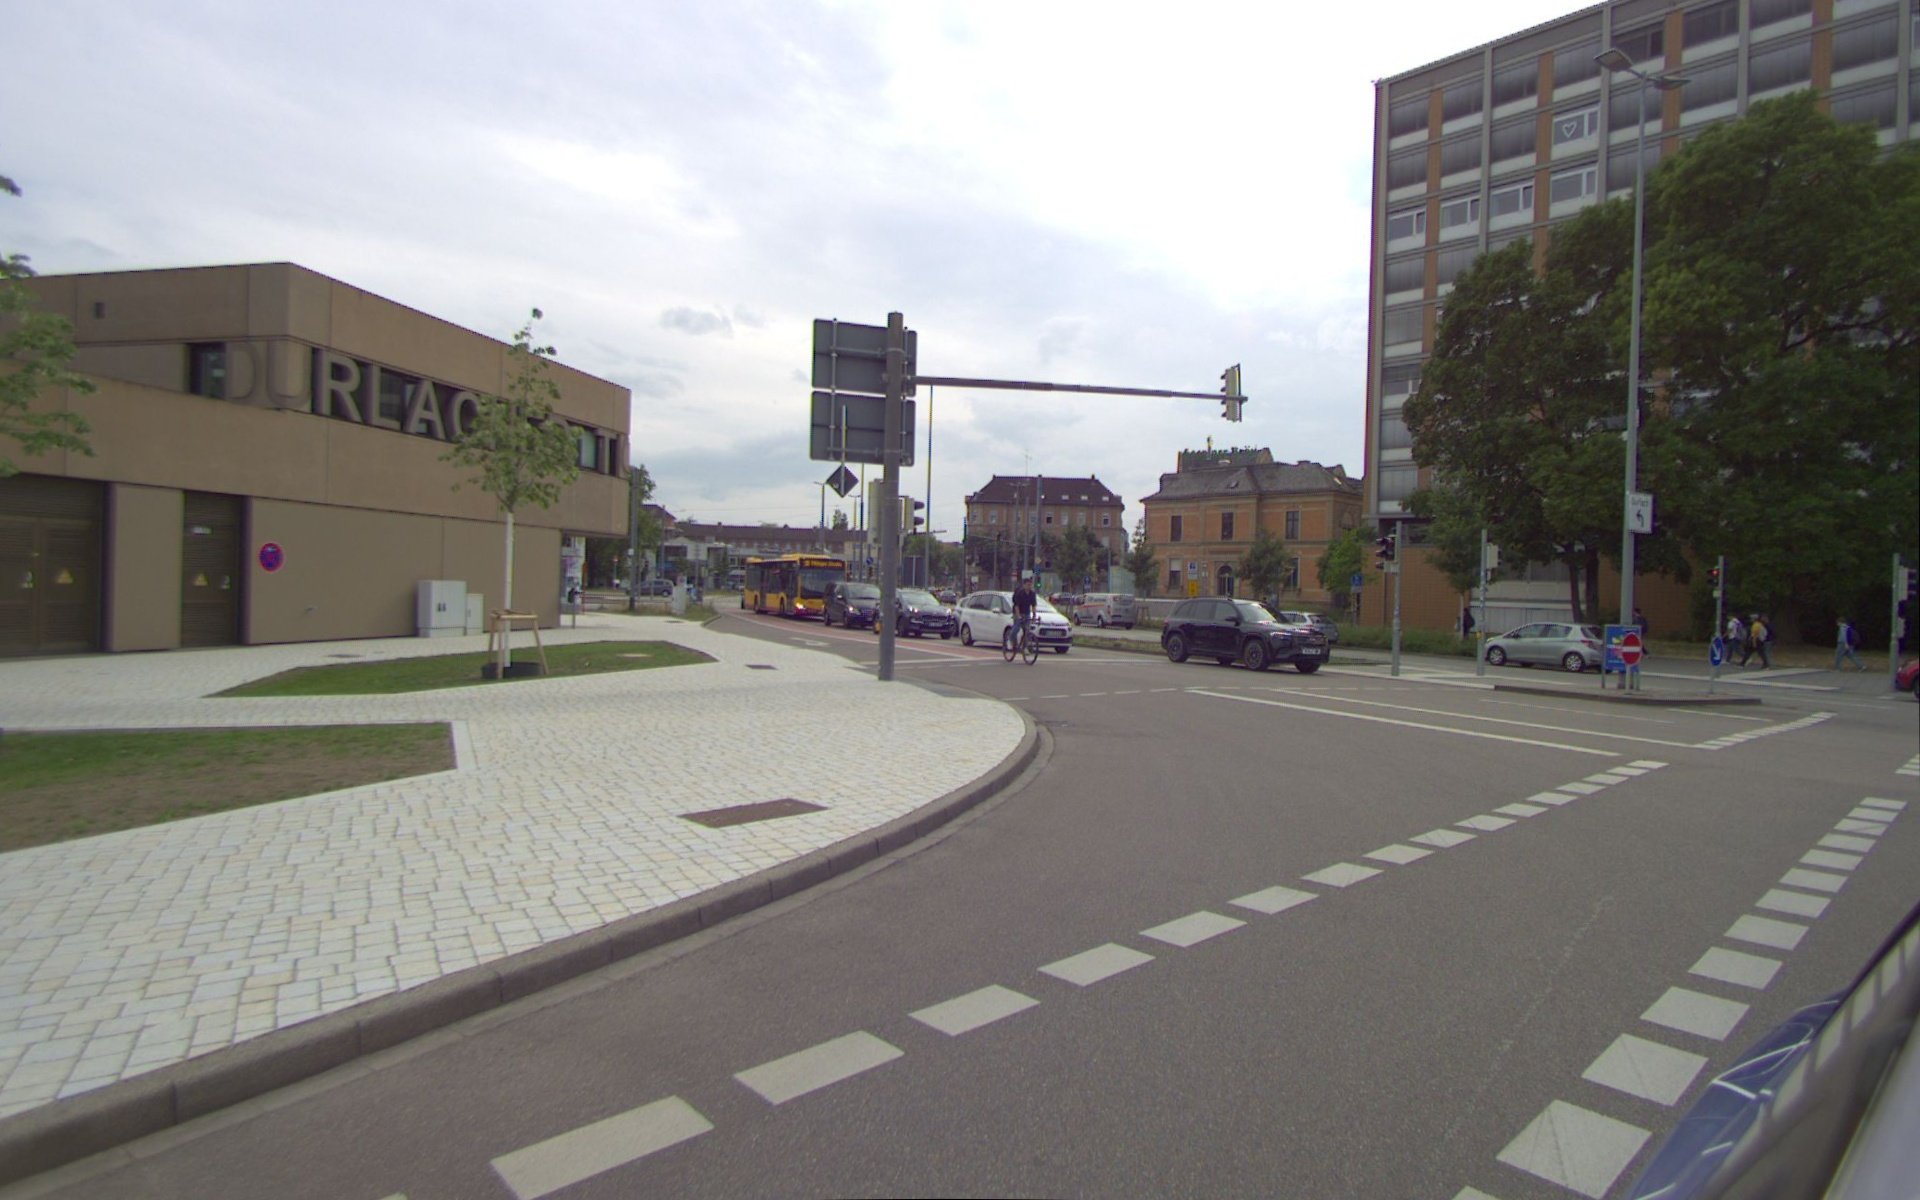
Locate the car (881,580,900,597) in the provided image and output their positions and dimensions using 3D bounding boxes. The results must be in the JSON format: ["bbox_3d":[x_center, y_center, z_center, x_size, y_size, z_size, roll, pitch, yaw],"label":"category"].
[{"bbox_3d":[-8.931,-1.426,129.328,1.959,1.948,4.006,3,-1,-9],"label":"car"}]

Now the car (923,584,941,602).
[{"bbox_3d":[-3.455,-0.903,125.055,1.963,2.039,3.997,3,-1,2],"label":"car"}]

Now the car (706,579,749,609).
[{"bbox_3d":[-16.095,-0.402,69.890,1.958,1.923,4.298,3,-1,-25],"label":"car"}]

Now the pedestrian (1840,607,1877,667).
[{"bbox_3d":[26.938,1.094,30.337,0.628,1.732,0.708,-1,1,-36],"label":"pedestrian"}]

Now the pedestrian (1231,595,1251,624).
[{"bbox_3d":[15.870,0.549,57.244,0.764,1.593,0.814,0,1,-17],"label":"pedestrian"}]

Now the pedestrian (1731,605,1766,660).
[{"bbox_3d":[25.666,1.045,32.941,0.628,1.732,0.708,2,0,-36],"label":"pedestrian"}]

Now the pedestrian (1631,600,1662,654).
[{"bbox_3d":[24.186,0.948,35.663,0.628,1.876,0.708,1,0,-36],"label":"pedestrian"}]

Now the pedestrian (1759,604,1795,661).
[{"bbox_3d":[25.617,1.022,31.721,0.628,1.733,0.708,4,-1,-36],"label":"pedestrian"}]

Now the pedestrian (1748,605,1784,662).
[{"bbox_3d":[24.963,1.015,31.346,0.628,1.732,0.708,1,0,-36],"label":"pedestrian"}]

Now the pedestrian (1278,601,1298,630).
[{"bbox_3d":[18.681,0.869,57.571,0.764,1.593,0.814,0,1,-13],"label":"pedestrian"}]

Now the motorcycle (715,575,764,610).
[{"bbox_3d":[-13.752,-0.470,62.964,1.959,2.039,4.006,3,-1,-27],"label":"motorcycle"}]

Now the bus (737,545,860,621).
[{"bbox_3d":[-8.612,-0.832,52.087,3.092,3.296,12.436,3,-1,-23],"label":"bus"}]

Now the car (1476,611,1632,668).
[{"bbox_3d":[18.352,1.189,31.439,1.637,1.508,3.882,3,-1,-26],"label":"car"}]

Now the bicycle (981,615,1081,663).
[{"bbox_3d":[1.467,0.811,21.655,0.847,0.888,2.522,3,-1,-29],"label":"bicycle"}]

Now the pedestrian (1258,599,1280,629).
[{"bbox_3d":[16.594,0.740,54.321,0.764,1.593,0.814,0,1,-17],"label":"pedestrian"}]

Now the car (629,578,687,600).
[{"bbox_3d":[-24.446,-0.871,81.894,3.956,1.594,1.997,4,-1,-41],"label":"car"}]

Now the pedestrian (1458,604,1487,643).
[{"bbox_3d":[21.545,0.976,42.557,0.766,1.593,0.812,0,1,-36],"label":"pedestrian"}]

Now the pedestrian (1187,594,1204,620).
[{"bbox_3d":[14.688,0.461,63.065,0.764,1.593,0.814,0,1,-13],"label":"pedestrian"}]

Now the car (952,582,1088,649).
[{"bbox_3d":[1.601,0.388,28.544,1.958,1.672,4.298,3,-1,-25],"label":"car"}]

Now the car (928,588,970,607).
[{"bbox_3d":[-1.112,-0.279,105.220,3.930,1.705,1.997,4,-1,-42],"label":"car"}]

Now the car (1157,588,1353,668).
[{"bbox_3d":[6.883,0.610,24.181,1.958,1.672,4.520,3,-1,-25],"label":"car"}]

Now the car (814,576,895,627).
[{"bbox_3d":[-4.421,0.035,41.878,1.958,1.923,4.298,3,-1,-25],"label":"car"}]

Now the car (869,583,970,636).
[{"bbox_3d":[-1.503,0.308,35.629,1.958,1.672,4.298,3,-1,-25],"label":"car"}]

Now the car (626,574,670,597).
[{"bbox_3d":[-30.841,-1.406,100.122,3.916,2.039,2.004,3,-1,-15],"label":"car"}]

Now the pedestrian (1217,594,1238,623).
[{"bbox_3d":[14.845,0.484,56.165,0.764,1.593,0.814,0,1,-17],"label":"pedestrian"}]

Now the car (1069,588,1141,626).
[{"bbox_3d":[8.252,0.383,58.013,1.787,1.984,5.216,3,-1,-19],"label":"car"}]

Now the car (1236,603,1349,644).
[{"bbox_3d":[13.685,0.941,41.949,1.787,1.493,4.536,3,-1,-26],"label":"car"}]

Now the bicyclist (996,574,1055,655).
[{"bbox_3d":[1.409,0.309,21.810,0.852,1.690,0.882,3,-1,-30],"label":"bicyclist"}]
